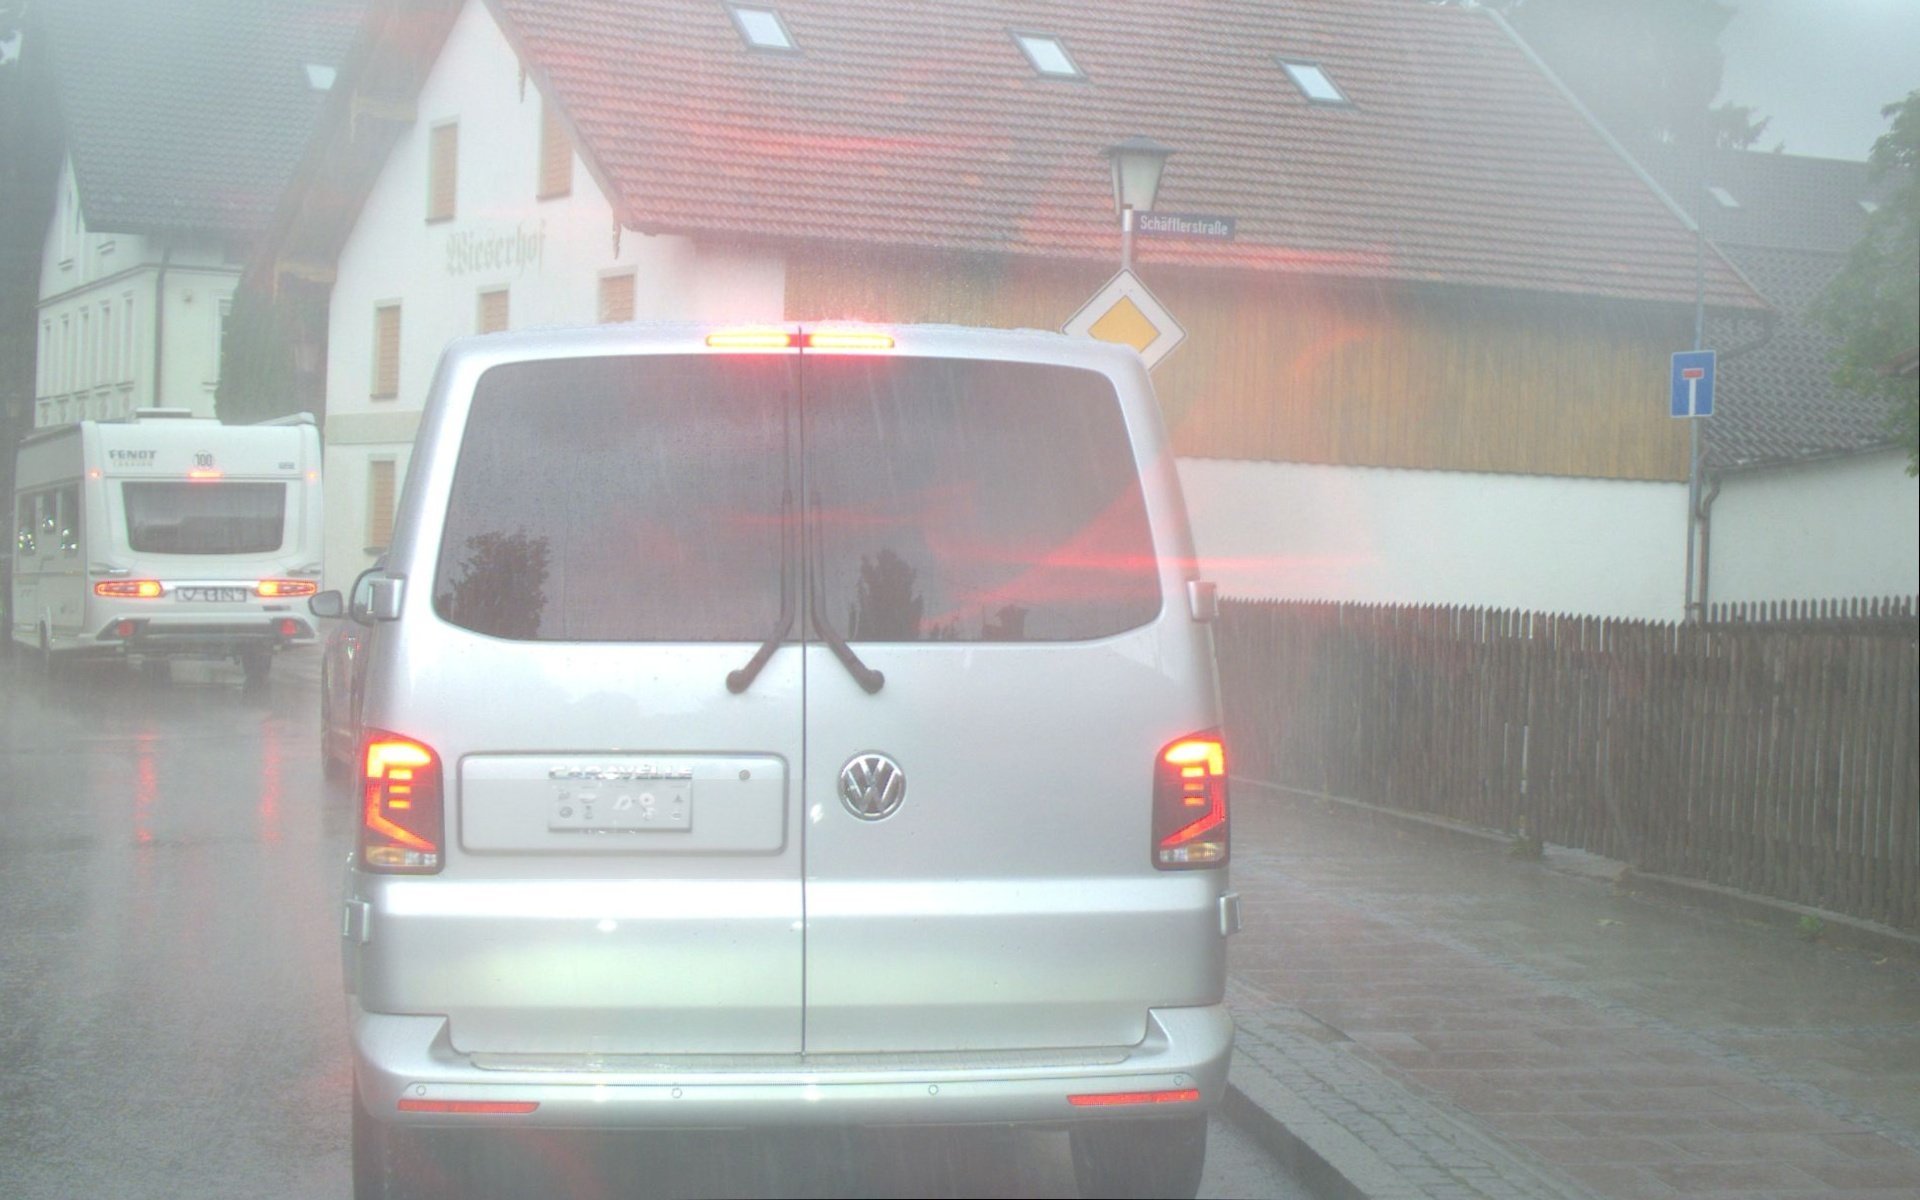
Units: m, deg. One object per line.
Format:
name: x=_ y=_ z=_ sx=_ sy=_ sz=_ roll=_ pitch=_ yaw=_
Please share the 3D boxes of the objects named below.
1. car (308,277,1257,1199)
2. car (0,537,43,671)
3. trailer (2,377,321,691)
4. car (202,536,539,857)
car: x=-0.386 y=0.342 z=9.021 sx=1.776 sy=1.956 sz=5.074 roll=0 pitch=1 yaw=-1
car: x=-15.587 y=-0.034 z=52.554 sx=2.168 sy=1.892 sz=5.016 roll=2 pitch=1 yaw=-24
trailer: x=-8.245 y=-0.654 z=34.998 sx=2.270 sy=2.894 sz=6.134 roll=1 pitch=1 yaw=-21
car: x=-3.432 y=0.456 z=20.219 sx=1.708 sy=1.578 sz=4.687 roll=-1 pitch=2 yaw=-9
